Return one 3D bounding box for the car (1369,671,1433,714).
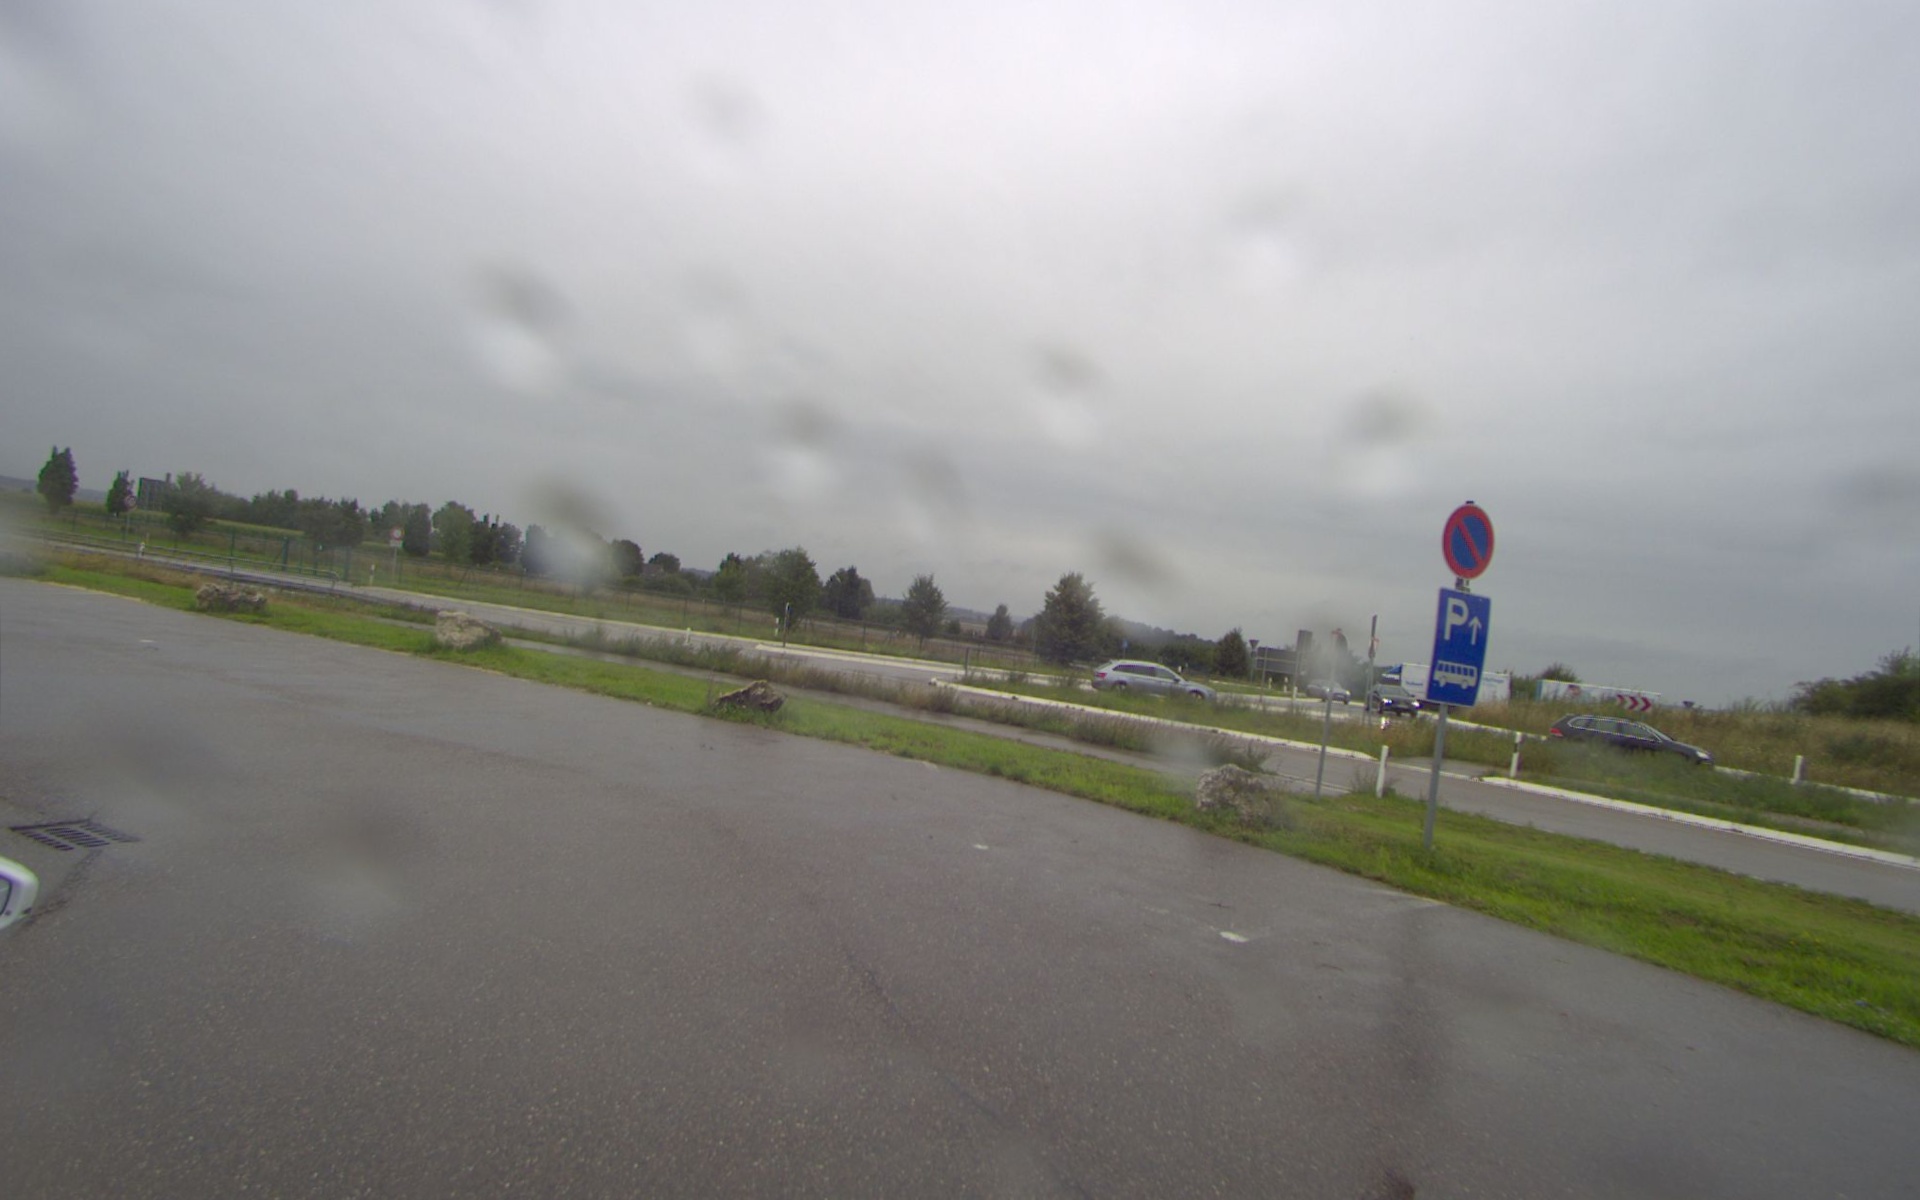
[{"bbox_3d":[22.712,4.737,51.968,1.856,1.705,4.671,6,0,11],"label":"car"}]

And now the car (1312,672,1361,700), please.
[{"bbox_3d":[25.621,5.847,68.671,1.723,1.341,4.309,6,0,2],"label":"car"}]

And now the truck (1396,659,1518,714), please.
[{"bbox_3d":[36.743,6.361,74.496,7.662,2.942,2.181,7,-2,32],"label":"truck"}]

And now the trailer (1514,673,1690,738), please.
[{"bbox_3d":[44.837,7.333,70.637,9.953,2.936,2.209,7,-1,19],"label":"trailer"}]

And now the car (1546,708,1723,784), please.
[{"bbox_3d":[21.405,4.605,32.056,4.455,1.621,1.995,6,-2,36],"label":"car"}]

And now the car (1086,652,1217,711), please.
[{"bbox_3d":[7.223,3.071,38.401,4.574,1.500,2.000,8,1,4],"label":"car"}]
